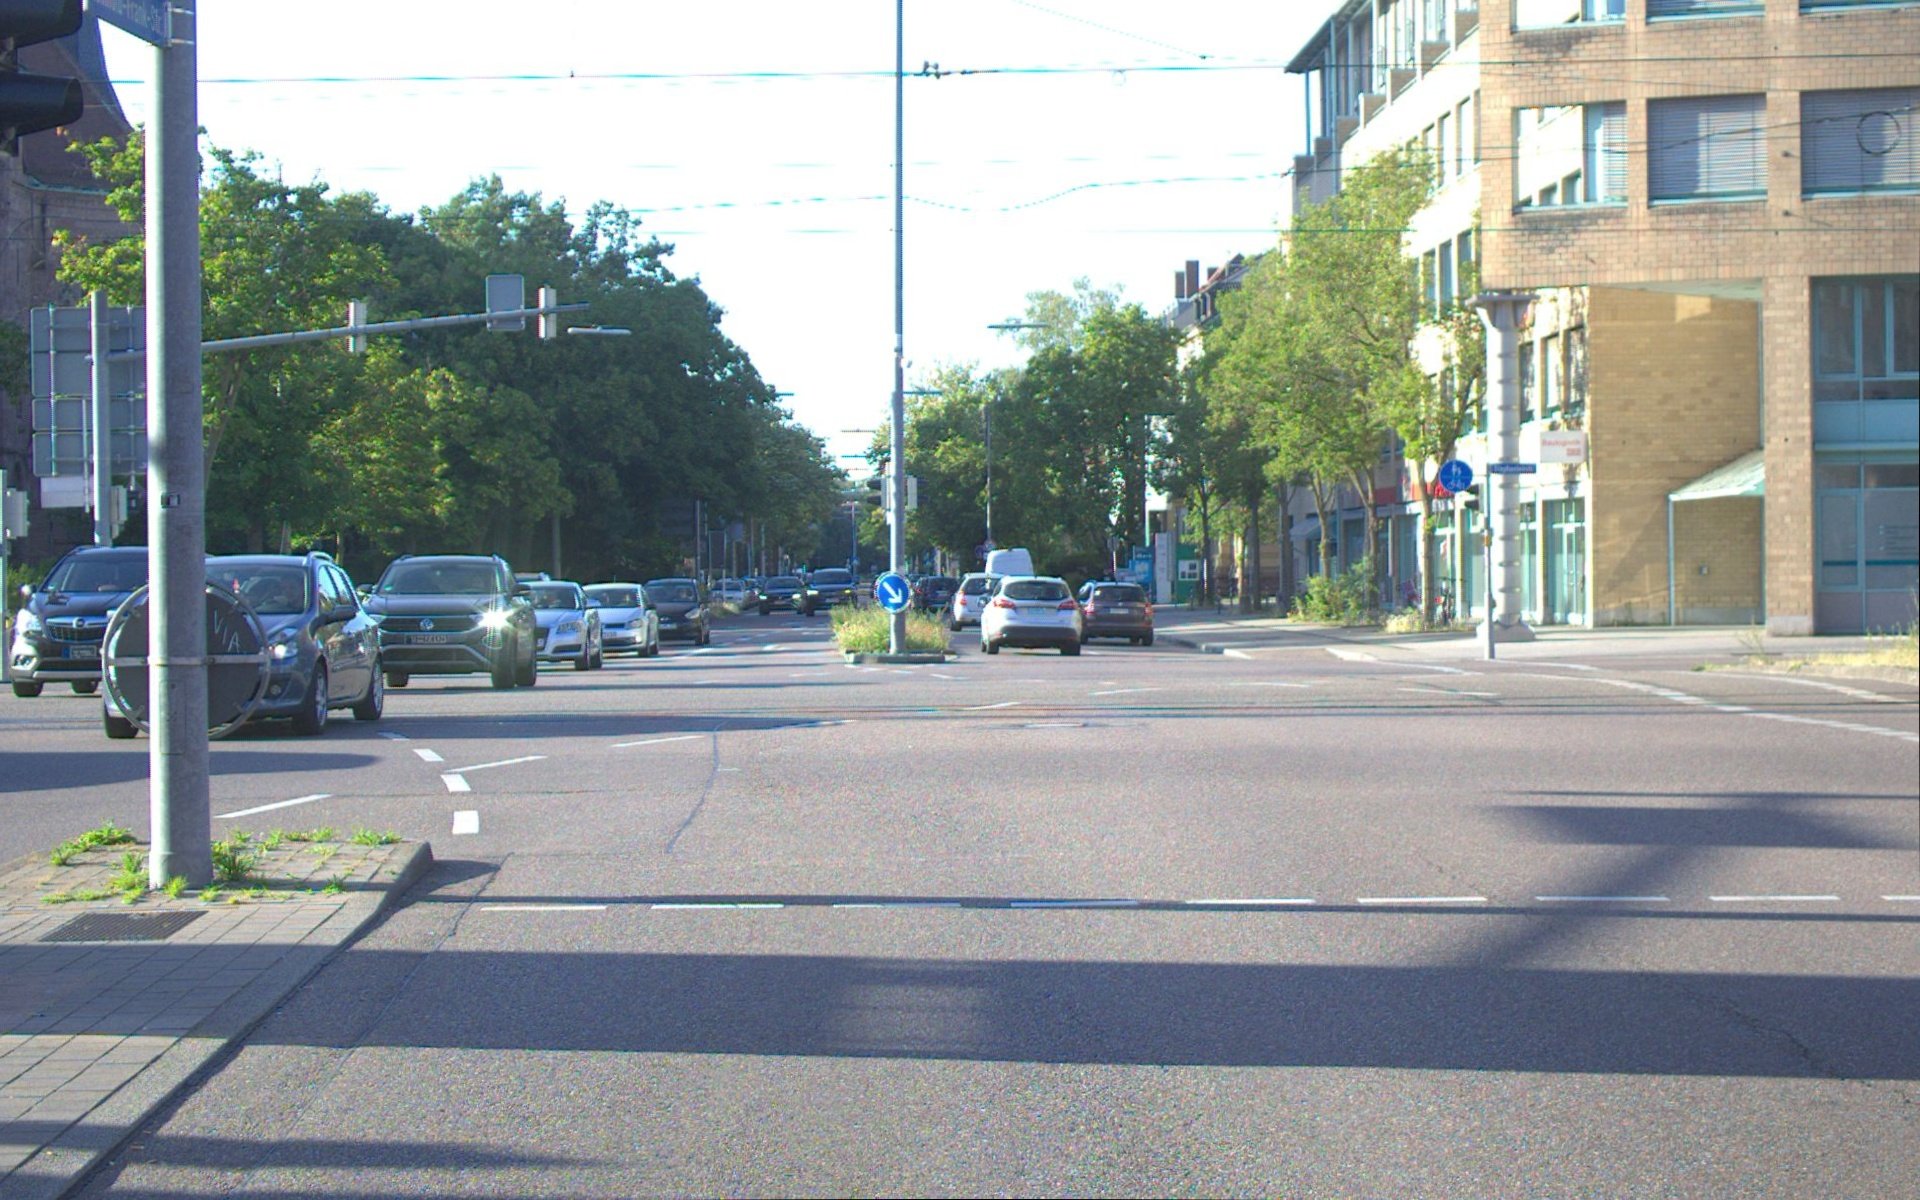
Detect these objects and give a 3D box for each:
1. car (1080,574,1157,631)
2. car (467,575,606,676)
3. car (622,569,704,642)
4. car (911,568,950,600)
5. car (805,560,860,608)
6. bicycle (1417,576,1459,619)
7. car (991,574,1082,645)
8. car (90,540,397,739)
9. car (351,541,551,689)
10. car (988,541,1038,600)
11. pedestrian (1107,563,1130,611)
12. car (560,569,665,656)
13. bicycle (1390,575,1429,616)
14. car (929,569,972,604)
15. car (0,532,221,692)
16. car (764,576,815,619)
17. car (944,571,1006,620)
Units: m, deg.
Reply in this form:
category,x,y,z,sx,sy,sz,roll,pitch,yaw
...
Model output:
category,x,y,z,sx,sy,sz,roll,pitch,yaw
car,3.675,0.039,79.896,1.594,1.263,3.266,0,1,-1
car,-6.678,0.378,54.560,1.708,1.420,4.103,-2,1,-1
car,-6.775,0.103,78.602,1.578,1.539,3.477,-2,1,-1
car,-1.237,-0.657,142.560,1.594,1.263,3.266,0,1,-1
car,-4.741,-0.575,128.750,1.993,1.718,5.031,-1,0,-2
bicycle,11.300,-0.071,81.251,0.646,0.991,2.081,0,0,-2
car,1.424,0.156,65.014,1.594,1.263,3.266,0,1,-1
car,-5.807,0.266,28.292,1.592,1.466,3.985,-1,1,1
car,-5.807,0.126,39.614,1.675,1.539,4.103,-2,1,0
car,2.230,-1.254,145.664,1.993,2.432,4.000,1,1,-1
pedestrian,6.061,-0.506,131.533,0.847,1.797,0.776,0,1,-1
car,-6.777,0.222,67.327,1.675,1.539,3.806,-2,1,-1
bicycle,11.198,-0.118,85.639,0.646,0.991,2.081,0,0,-2
car,-0.360,-0.521,130.042,1.594,1.263,3.266,0,1,-1
car,-9.402,0.087,37.836,1.719,1.623,4.103,-2,1,-2
car,-7.003,-0.108,141.772,1.993,1.718,4.593,-1,0,-2
car,0.389,-0.139,93.008,1.594,1.263,3.266,0,1,-1
